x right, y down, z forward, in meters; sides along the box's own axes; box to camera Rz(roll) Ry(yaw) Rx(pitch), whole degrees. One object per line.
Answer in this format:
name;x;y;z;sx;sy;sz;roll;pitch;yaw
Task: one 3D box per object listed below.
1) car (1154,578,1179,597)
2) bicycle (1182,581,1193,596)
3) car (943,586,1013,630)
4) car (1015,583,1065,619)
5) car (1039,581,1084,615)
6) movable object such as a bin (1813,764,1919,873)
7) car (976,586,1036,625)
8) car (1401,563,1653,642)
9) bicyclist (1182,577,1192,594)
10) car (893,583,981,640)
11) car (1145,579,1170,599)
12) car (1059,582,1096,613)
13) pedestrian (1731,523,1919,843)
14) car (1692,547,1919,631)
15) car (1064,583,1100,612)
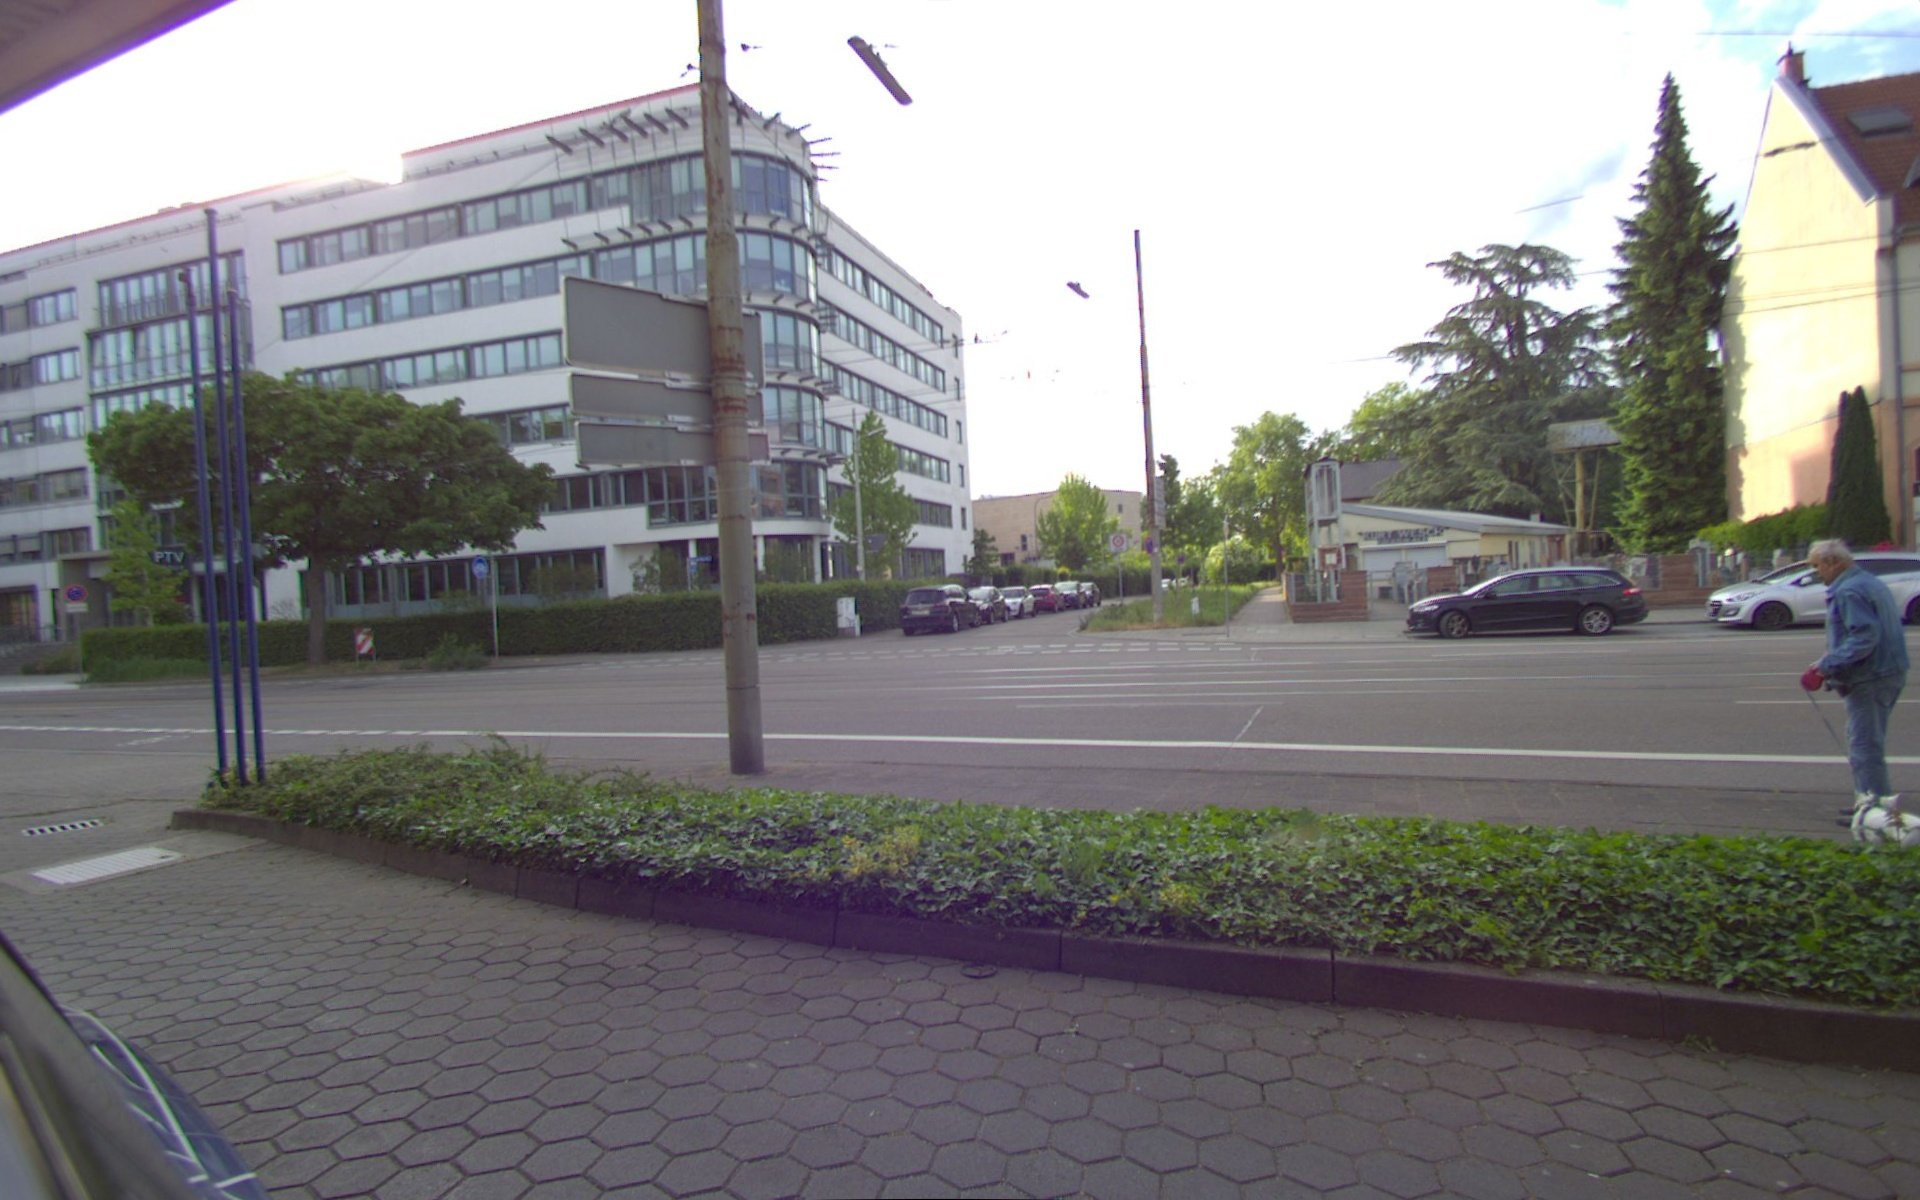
car;21.687;-1.343;106.168;1.849;1.748;4.246;-3;1;19
bicycle;22.335;-1.172;99.418;0.859;1.320;1.909;-2;3;18
car;0.796;0.290;40.980;1.929;1.551;4.274;-3;0;13
car;4.177;0.021;52.497;1.929;1.650;4.274;-3;0;13
car;5.836;-0.153;57.726;1.929;1.748;4.512;-3;0;13
movable object such as a bin;4.809;1.099;5.058;0.473;0.424;0.682;-2;0;-22
car;2.144;0.213;45.791;1.929;1.530;4.274;-3;0;13
car;12.915;0.055;23.449;4.742;1.511;2.001;-3;1;21
bicyclist;22.293;-1.451;99.322;0.859;1.617;1.023;-2;3;18
car;-0.723;0.360;35.420;1.994;1.704;4.274;-3;1;13
car;19.696;-1.093;100.798;1.849;1.748;4.247;-3;1;19
car;7.290;-0.163;62.500;1.731;1.748;4.030;-3;0;13
pedestrian;5.339;0.428;5.863;0.986;1.680;0.974;-2;0;-22
car;18.426;-0.244;21.388;4.424;1.494;1.713;-3;1;21
car;8.092;-0.175;66.761;1.845;1.748;4.256;-3;0;13
